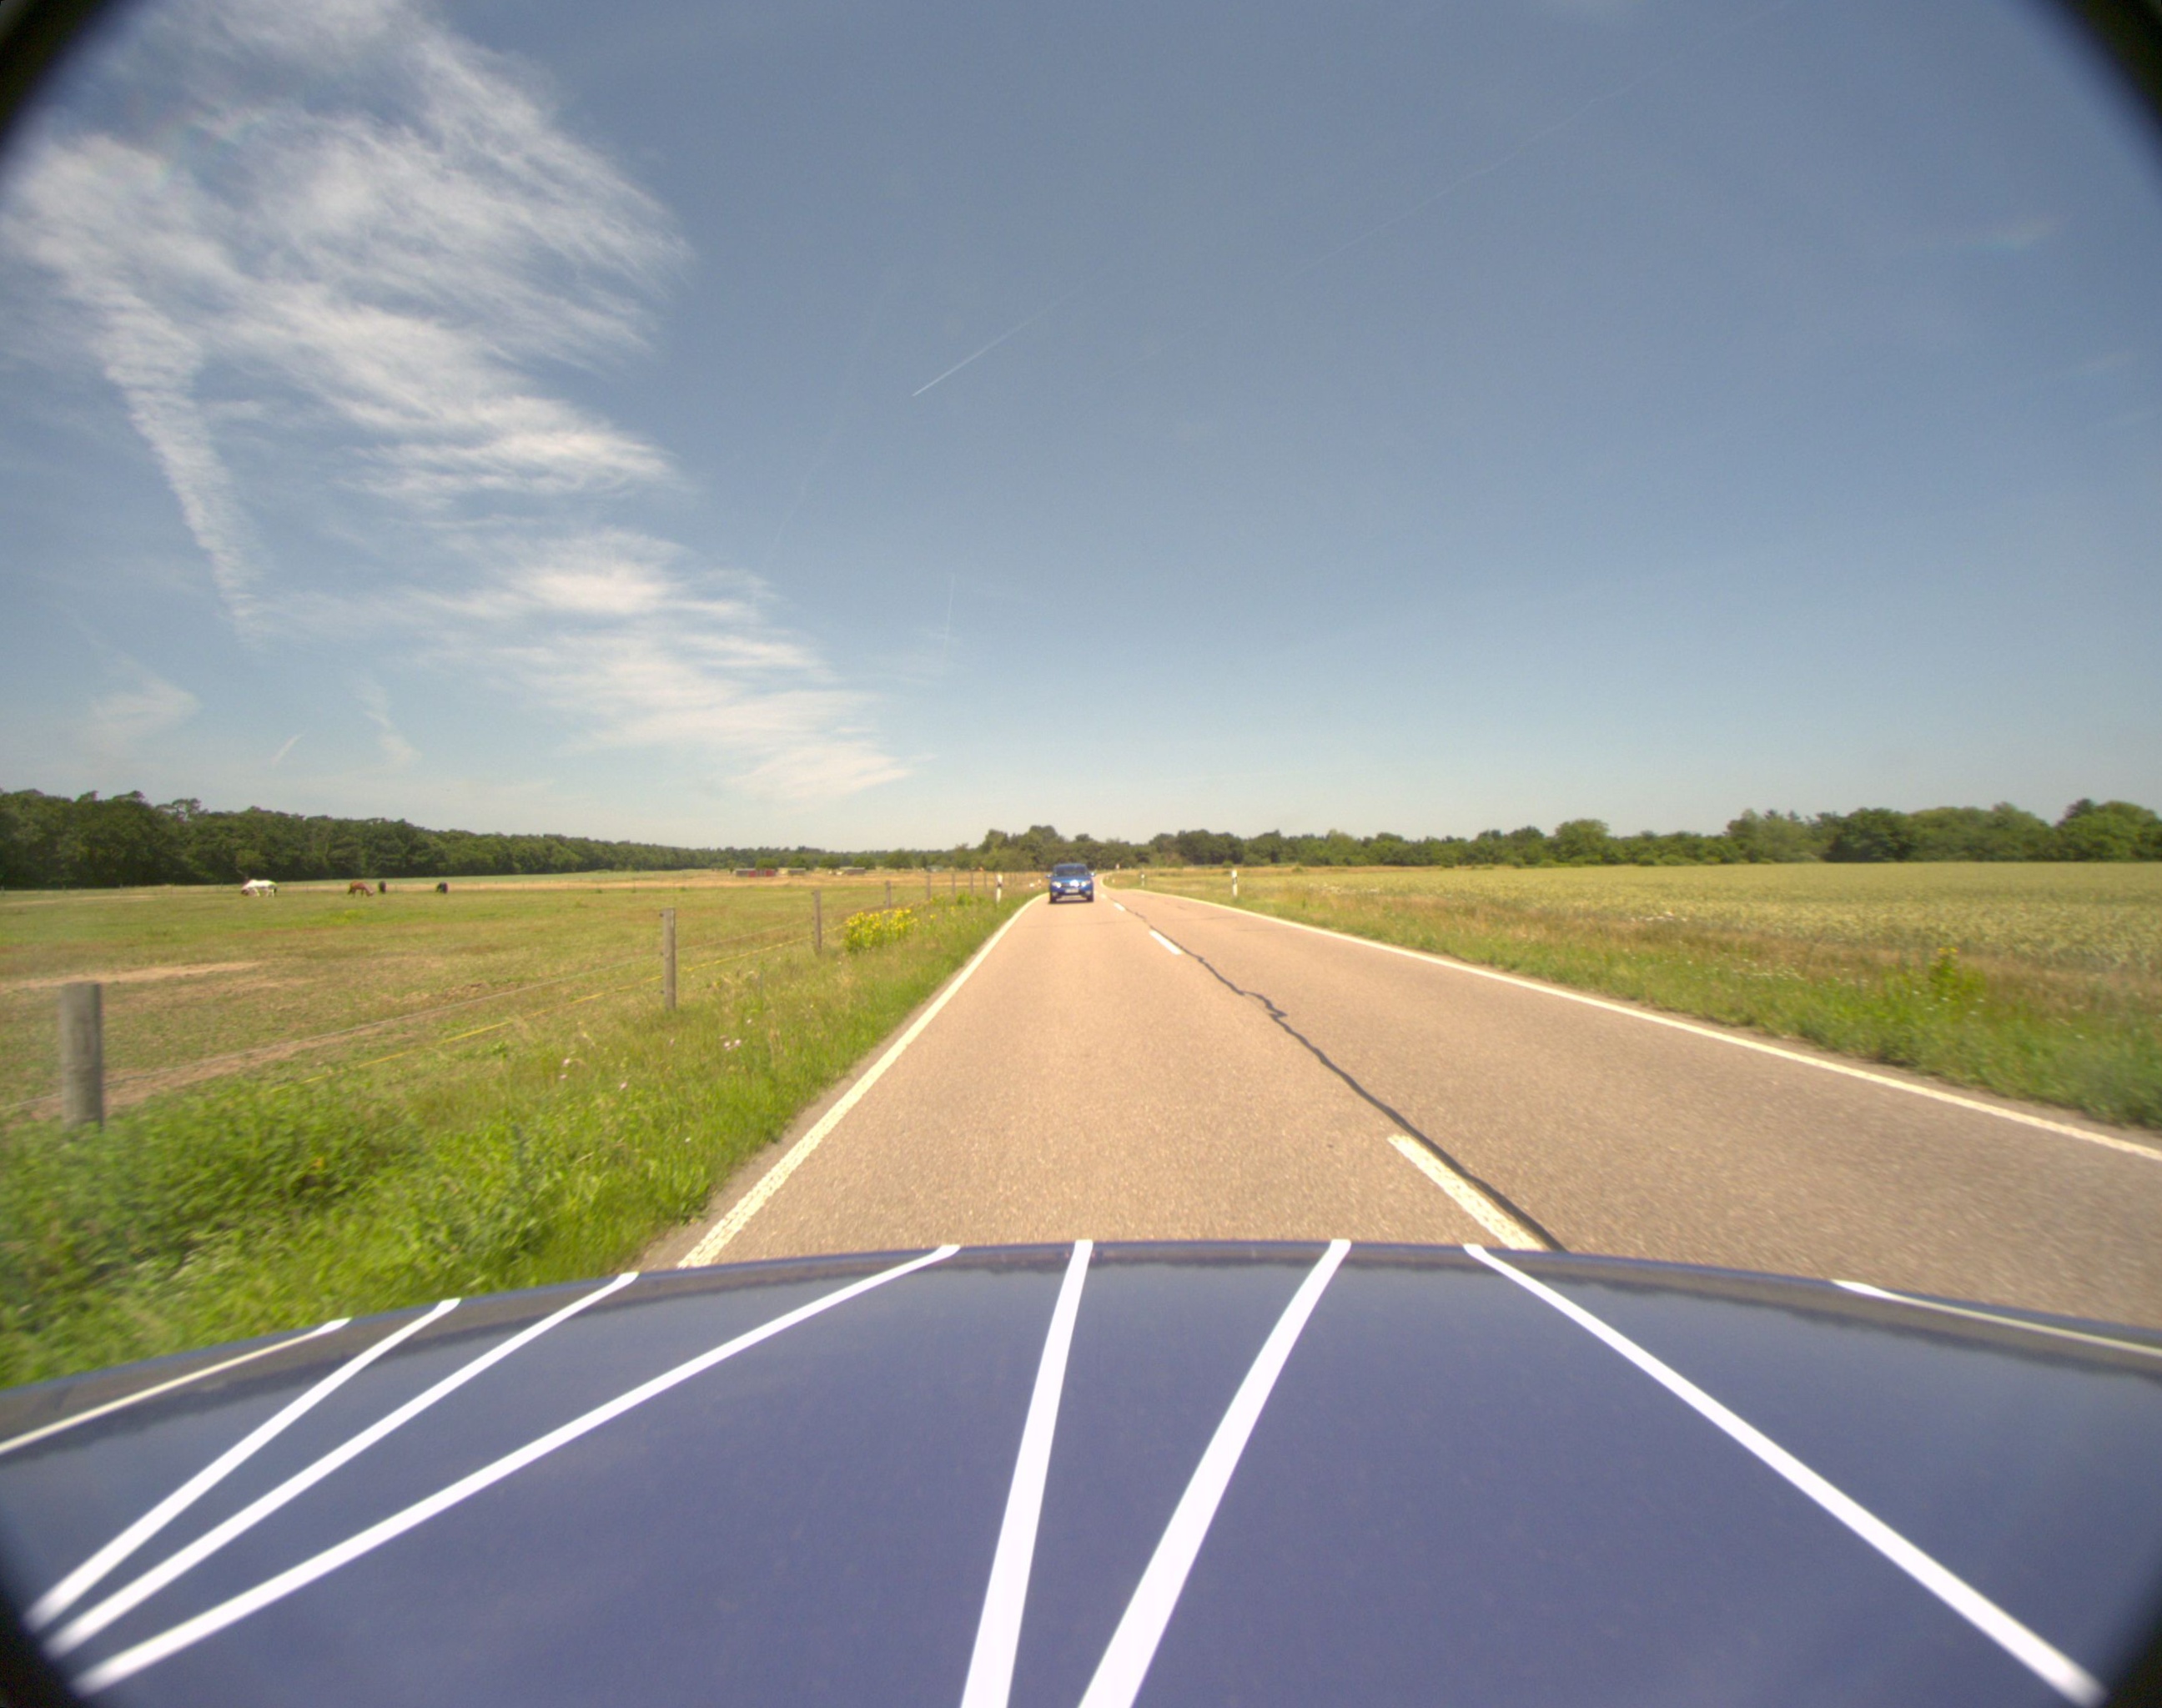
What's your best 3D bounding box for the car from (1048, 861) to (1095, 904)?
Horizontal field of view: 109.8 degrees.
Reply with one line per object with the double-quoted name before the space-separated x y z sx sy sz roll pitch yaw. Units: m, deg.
"car" -0.374 1.137 31.079 1.734 1.571 4.001 -2 -1 0
